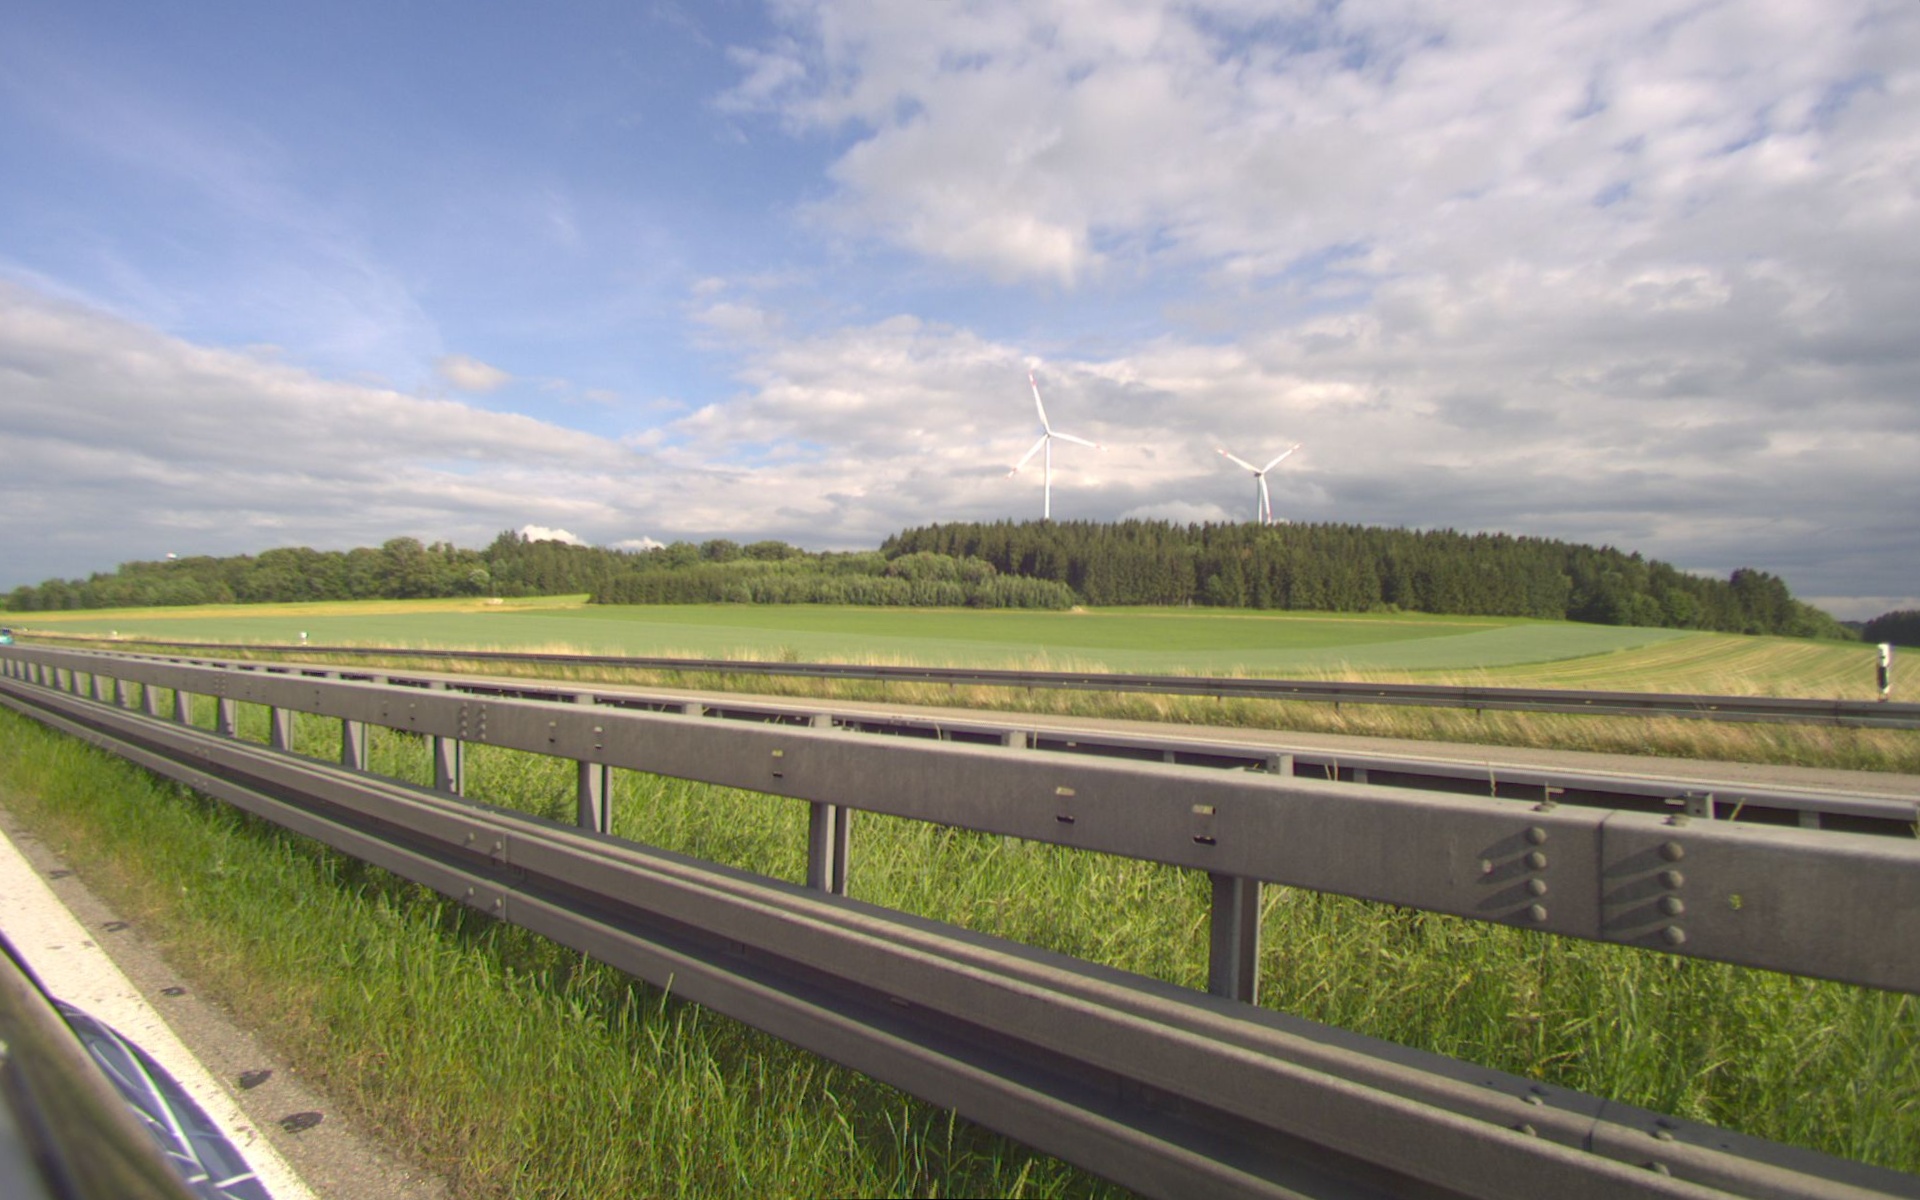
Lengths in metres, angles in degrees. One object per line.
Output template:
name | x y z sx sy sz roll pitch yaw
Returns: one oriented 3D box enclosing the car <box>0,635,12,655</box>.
car | -80.478 3.745 84.334 4.115 1.600 1.716 -1 -1 41
